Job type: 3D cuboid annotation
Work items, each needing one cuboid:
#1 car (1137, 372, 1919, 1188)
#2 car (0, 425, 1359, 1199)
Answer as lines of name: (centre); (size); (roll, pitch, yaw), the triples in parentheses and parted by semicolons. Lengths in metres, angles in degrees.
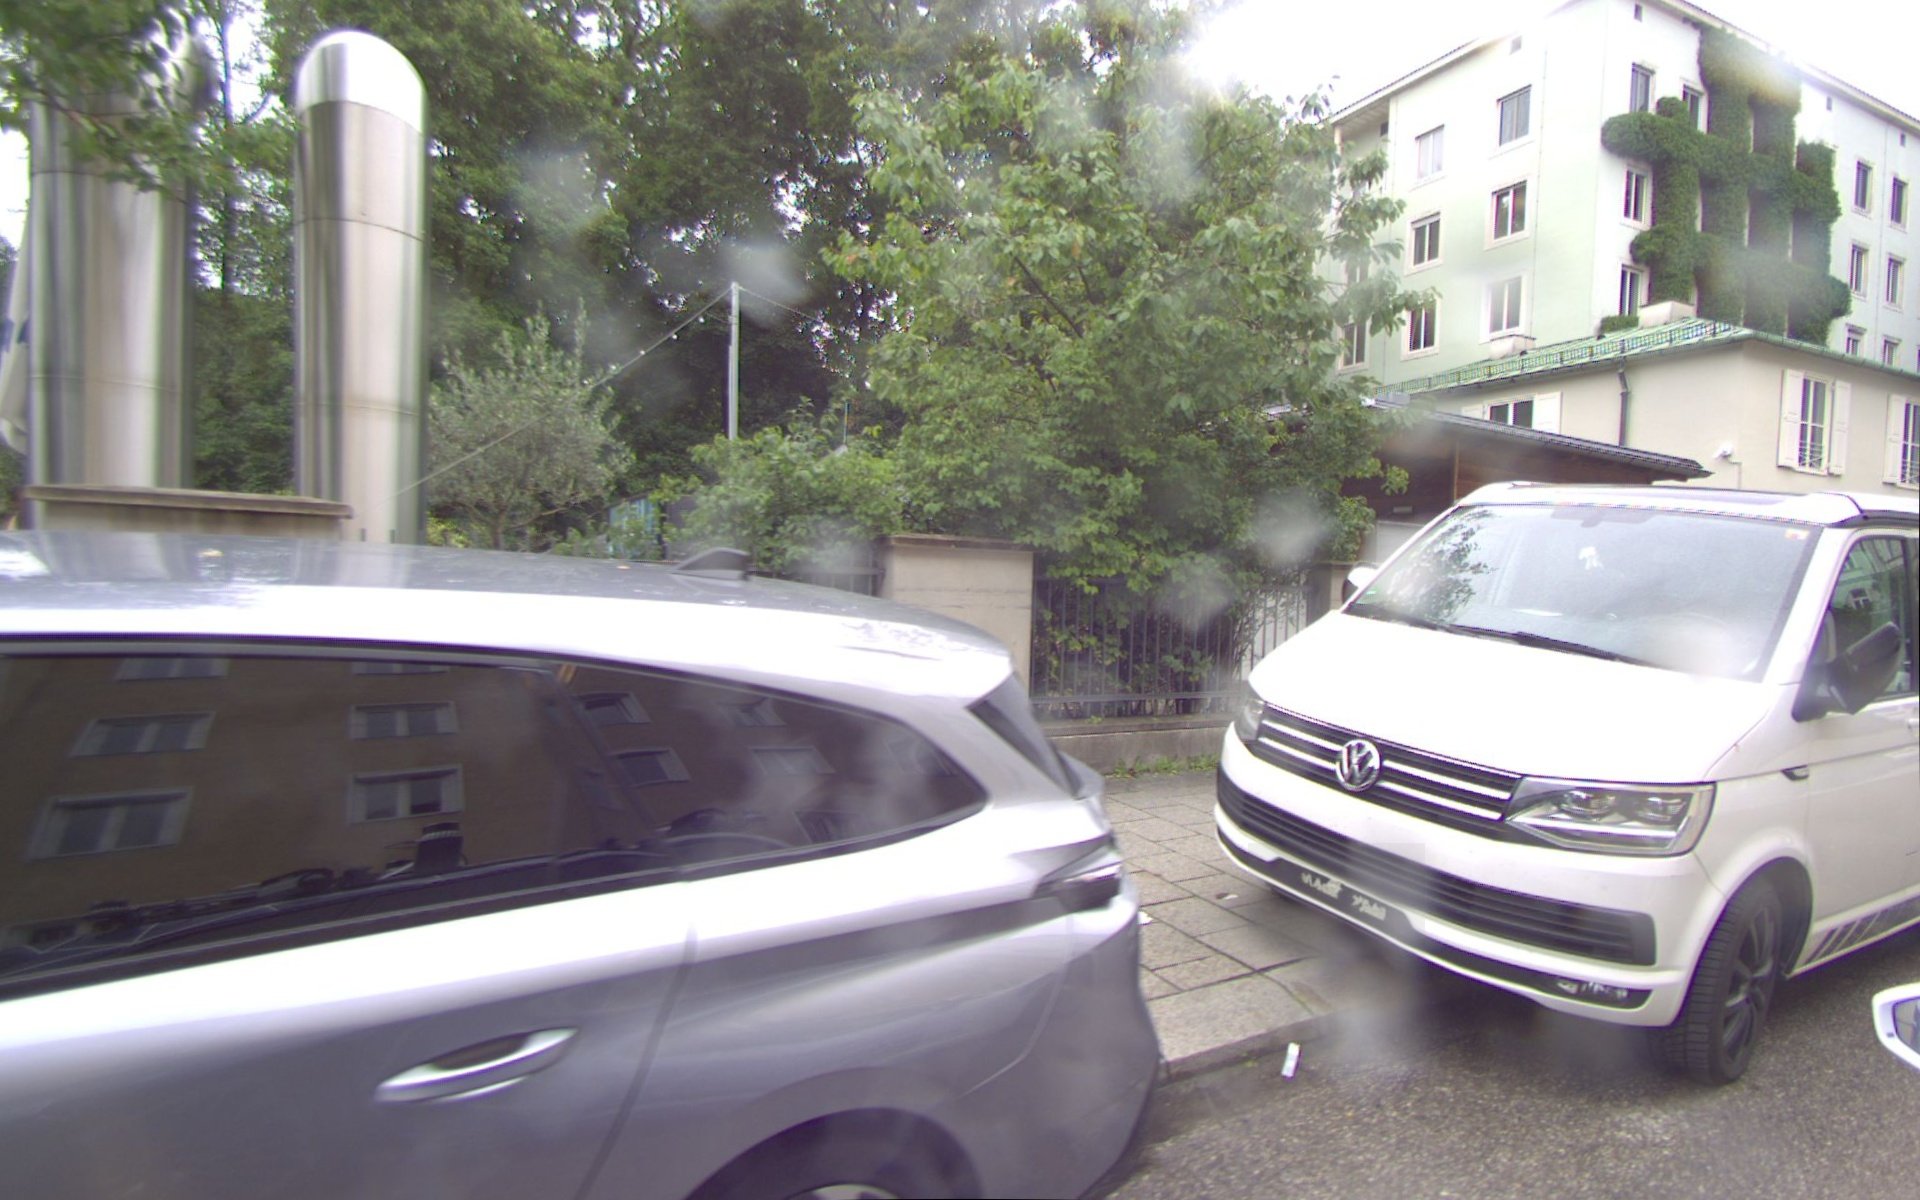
car: (3.435, 0.451, 4.657); (5.094, 2.017, 1.955); (1, 3, -32)
car: (-1.636, 0.579, 1.626); (4.645, 1.564, 1.876); (1, 2, -33)
